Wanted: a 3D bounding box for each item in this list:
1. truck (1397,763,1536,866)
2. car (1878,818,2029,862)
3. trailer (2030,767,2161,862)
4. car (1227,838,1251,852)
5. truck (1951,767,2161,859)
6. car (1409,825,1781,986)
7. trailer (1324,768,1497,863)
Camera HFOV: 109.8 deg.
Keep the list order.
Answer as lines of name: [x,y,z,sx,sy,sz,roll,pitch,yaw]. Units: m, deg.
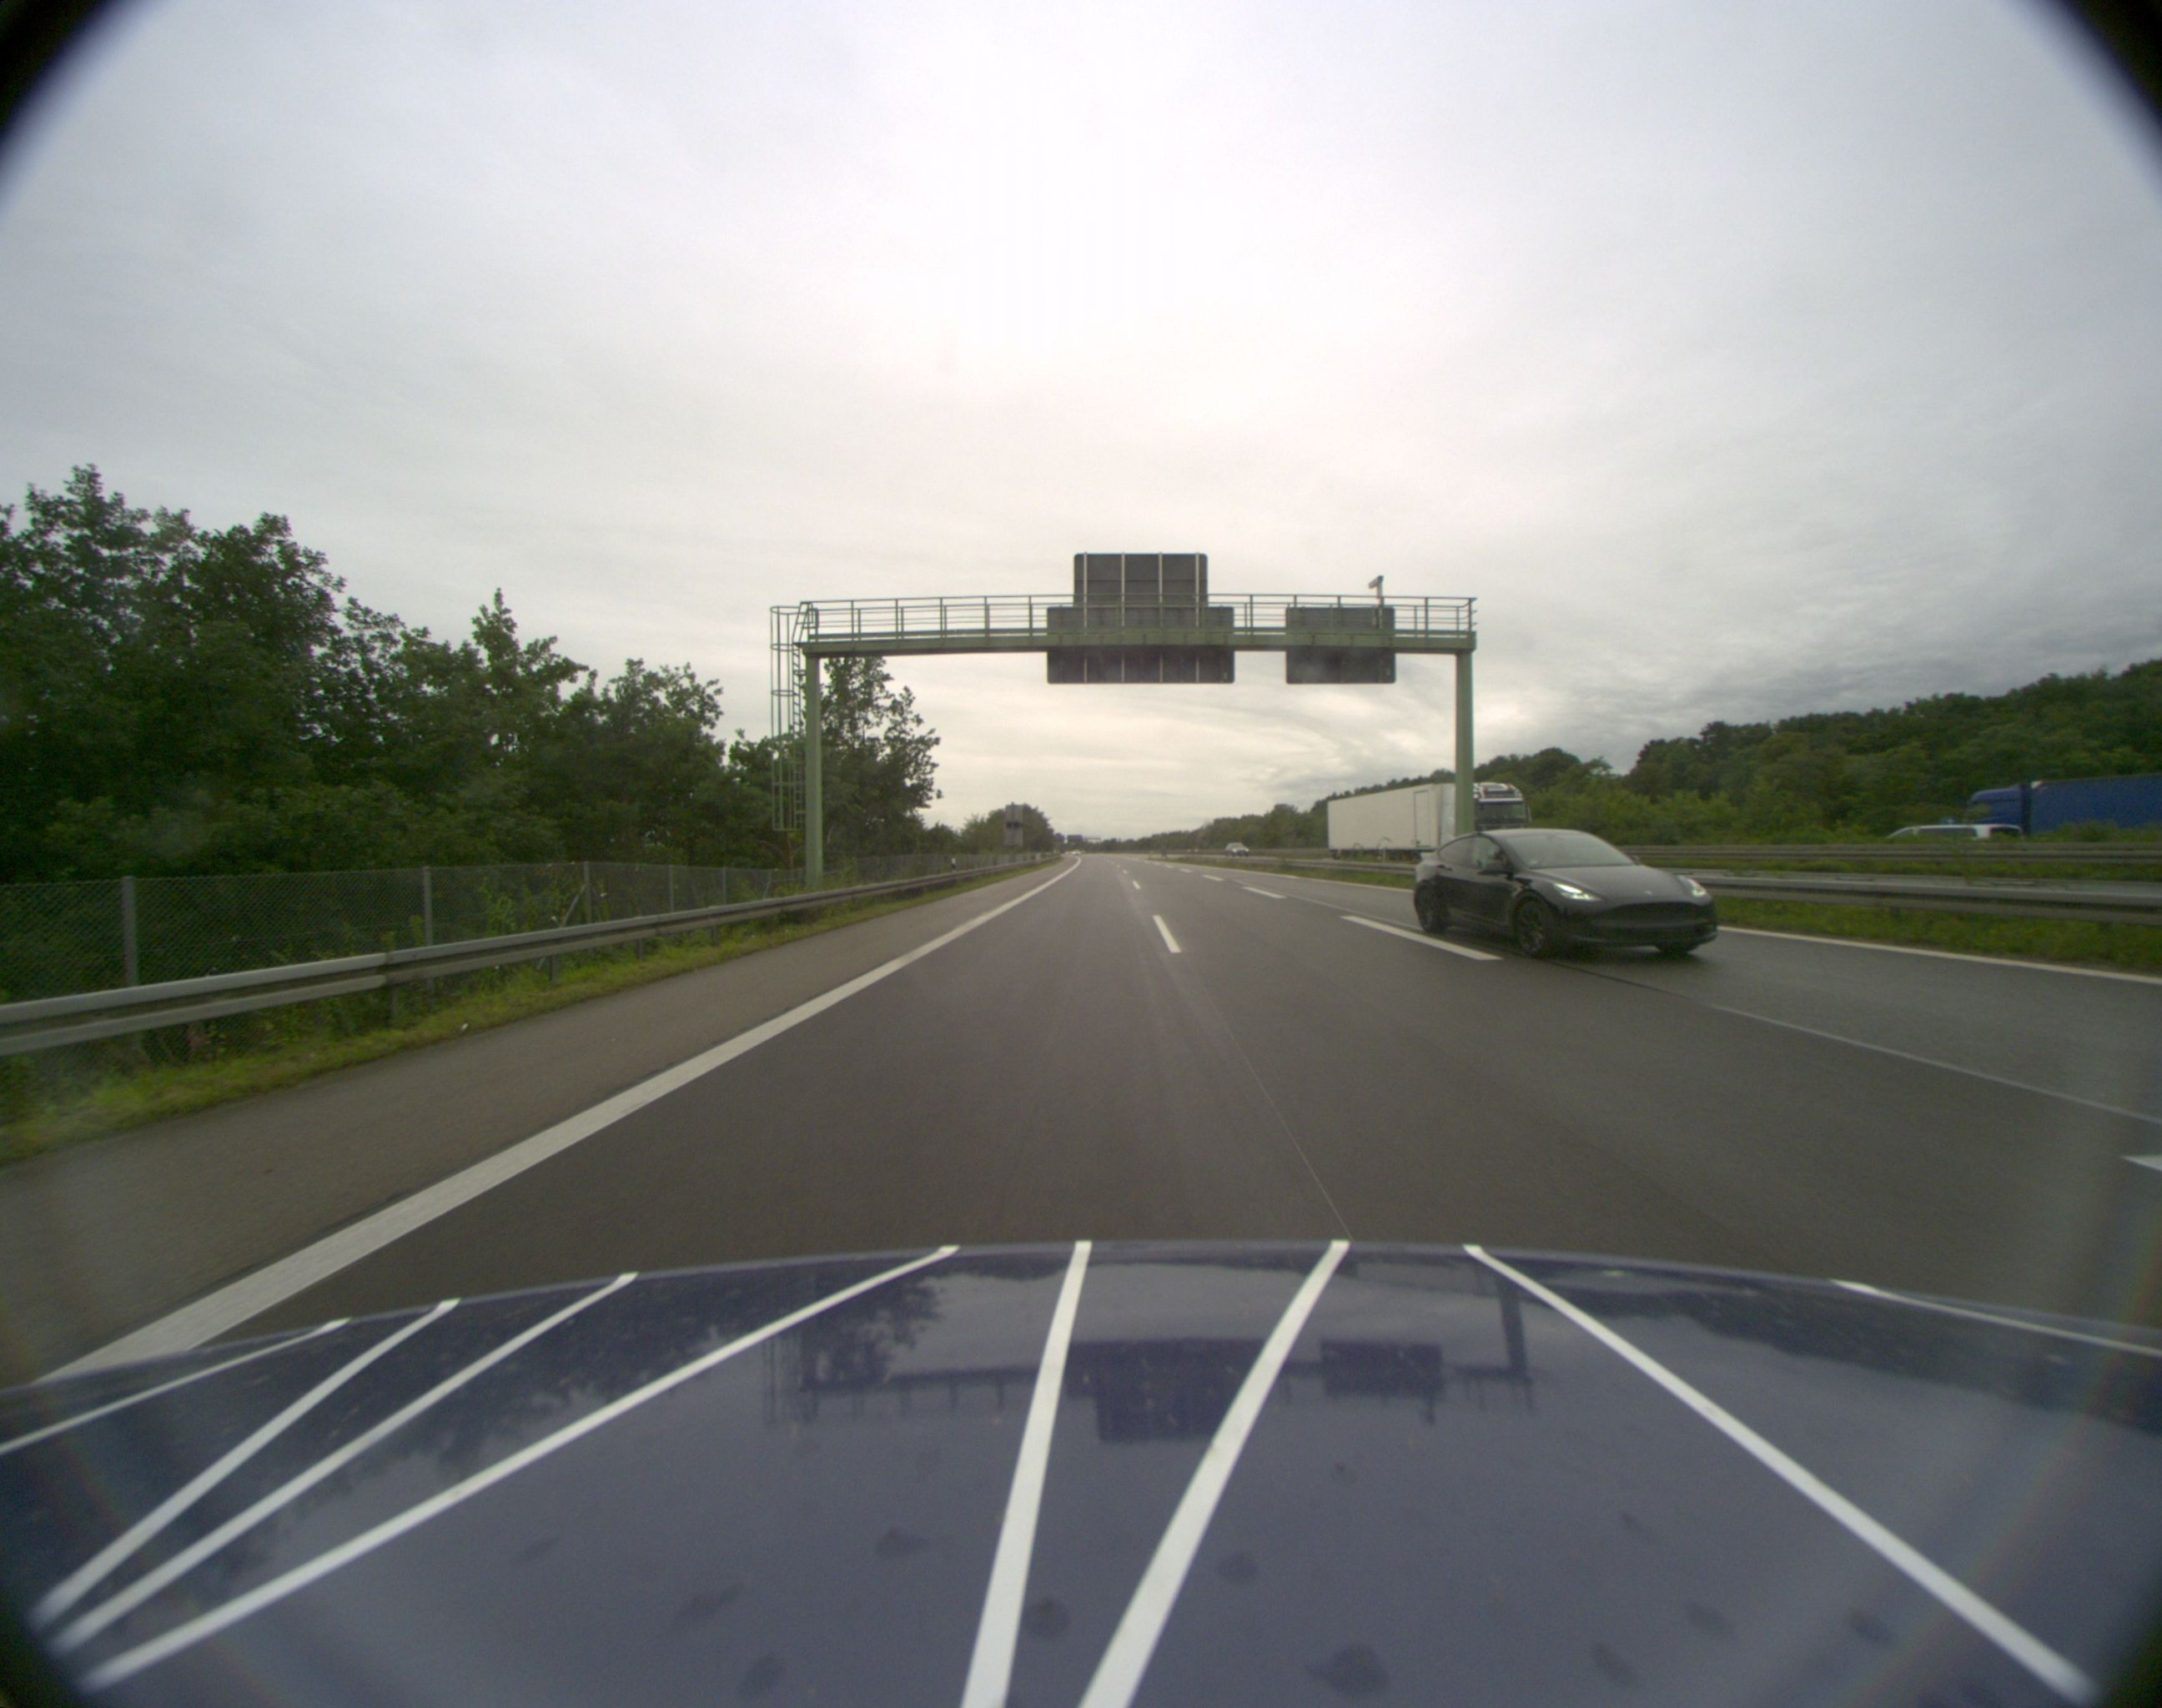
truck: [17.190,-1.664,34.448,2.773,4.111,6.443,-2,1,-2]
car: [41.685,-0.674,36.501,1.999,1.910,4.525,-2,1,-1]
trailer: [46.001,-1.656,28.751,2.967,3.903,13.522,-2,1,-2]
car: [19.517,-1.113,93.847,1.903,1.641,4.484,-2,1,-1]
truck: [45.742,-1.800,35.662,2.967,3.903,5.896,-2,1,-2]
car: [6.440,0.498,10.328,1.966,1.628,4.553,-2,1,0]
trailer: [16.976,-1.800,40.957,2.773,4.111,13.947,-2,1,-2]
